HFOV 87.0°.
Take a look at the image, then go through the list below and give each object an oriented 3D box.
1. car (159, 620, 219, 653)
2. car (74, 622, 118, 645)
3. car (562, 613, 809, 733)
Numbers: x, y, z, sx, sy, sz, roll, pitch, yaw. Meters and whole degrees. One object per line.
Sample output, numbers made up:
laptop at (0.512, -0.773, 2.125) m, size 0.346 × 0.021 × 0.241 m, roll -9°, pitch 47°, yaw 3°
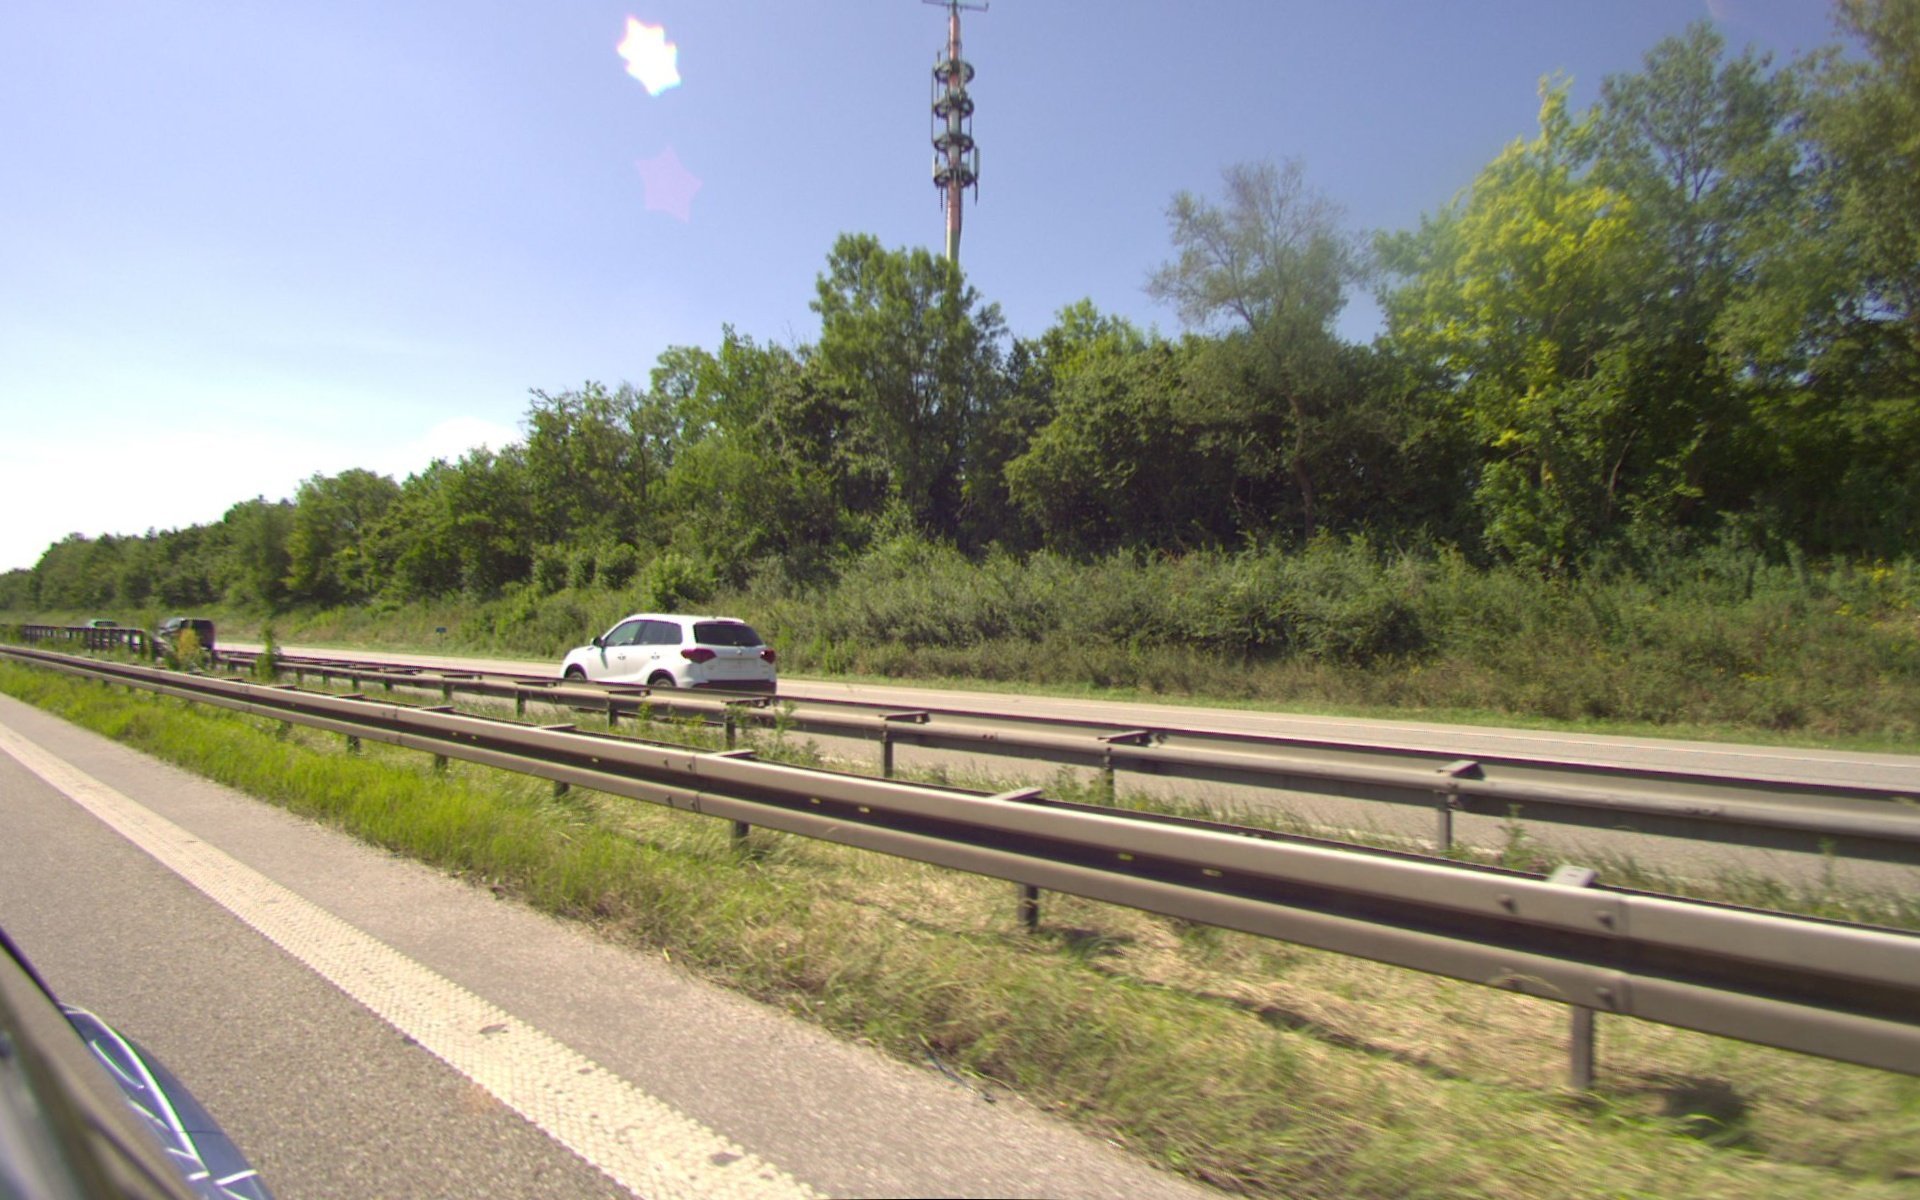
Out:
car at (-39.393, 1.853, 51.687) m, size 3.912 × 1.629 × 1.640 m, roll -1°, pitch -4°, yaw 42°
car at (-59.616, 2.300, 69.793) m, size 4.318 × 1.489 × 1.640 m, roll -1°, pitch -4°, yaw 42°
car at (-4.341, 1.066, 15.759) m, size 3.911 × 1.629 × 1.793 m, roll -1°, pitch -4°, yaw 41°
